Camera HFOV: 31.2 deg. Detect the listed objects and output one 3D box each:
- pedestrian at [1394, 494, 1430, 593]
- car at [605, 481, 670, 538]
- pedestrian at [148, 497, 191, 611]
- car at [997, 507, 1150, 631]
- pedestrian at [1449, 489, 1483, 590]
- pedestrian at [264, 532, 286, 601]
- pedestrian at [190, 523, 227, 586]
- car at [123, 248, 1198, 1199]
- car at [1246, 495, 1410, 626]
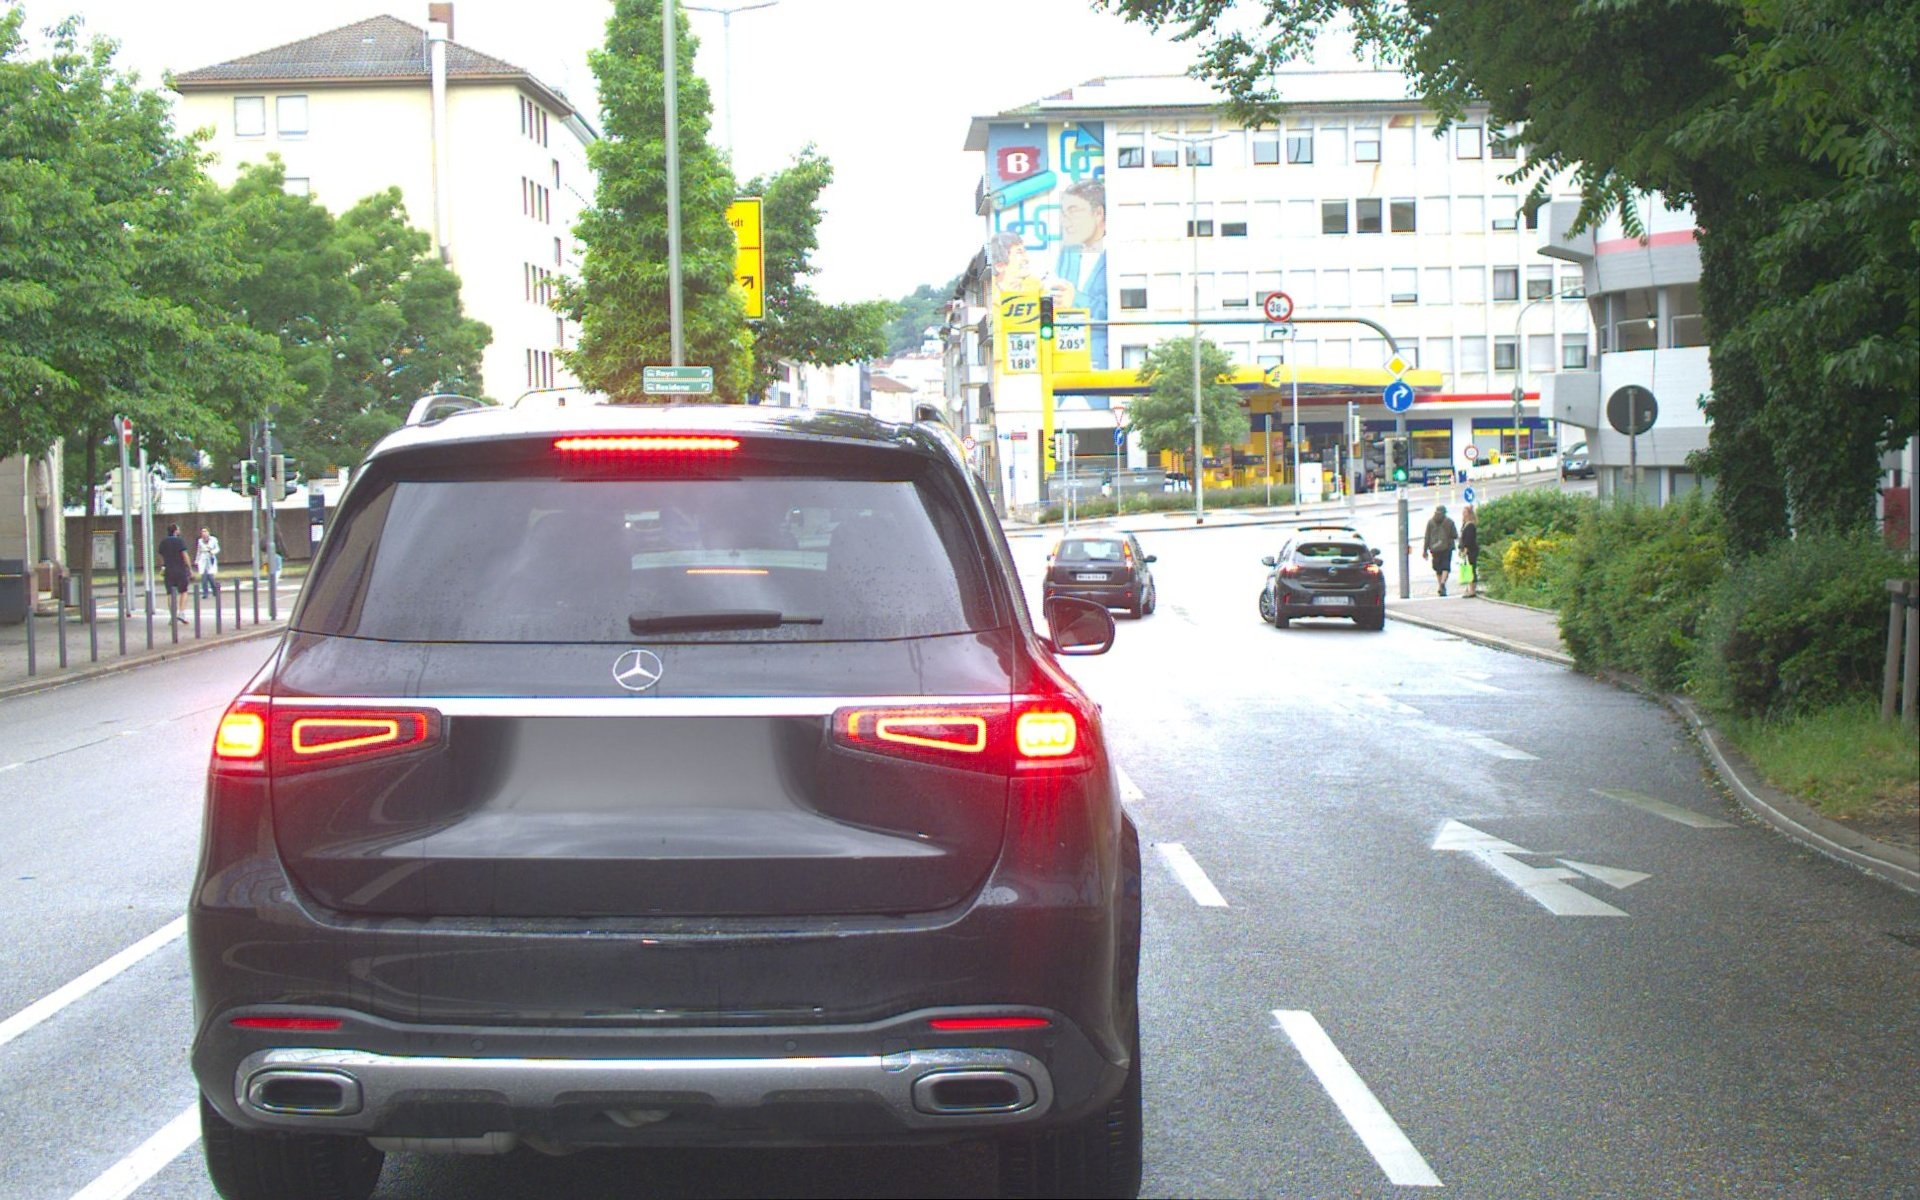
[{"bbox_3d":[8.862,-1.112,67.398,0.620,1.929,0.610,1,0,3],"label":"pedestrian"},{"bbox_3d":[-11.246,-3.138,120.200,1.993,1.868,5.142,1,0,-2],"label":"car"},{"bbox_3d":[-14.016,-0.811,60.955,0.587,2.007,0.749,1,0,-2],"label":"pedestrian"},{"bbox_3d":[1.889,-0.527,58.629,1.993,2.007,4.001,1,0,-7],"label":"car"},{"bbox_3d":[9.625,-1.156,65.384,0.519,1.904,0.556,1,0,-1],"label":"pedestrian"},{"bbox_3d":[-16.531,-0.807,82.987,0.399,1.639,0.567,1,0,-1],"label":"pedestrian"},{"bbox_3d":[-17.558,-1.051,80.322,0.711,1.457,0.598,1,0,-2],"label":"pedestrian"},{"bbox_3d":[-0.631,0.344,8.477,1.993,2.007,4.000,1,0,-2],"label":"car"},{"bbox_3d":[5.790,-0.656,54.544,1.993,2.007,4.001,0,1,-2],"label":"car"}]
